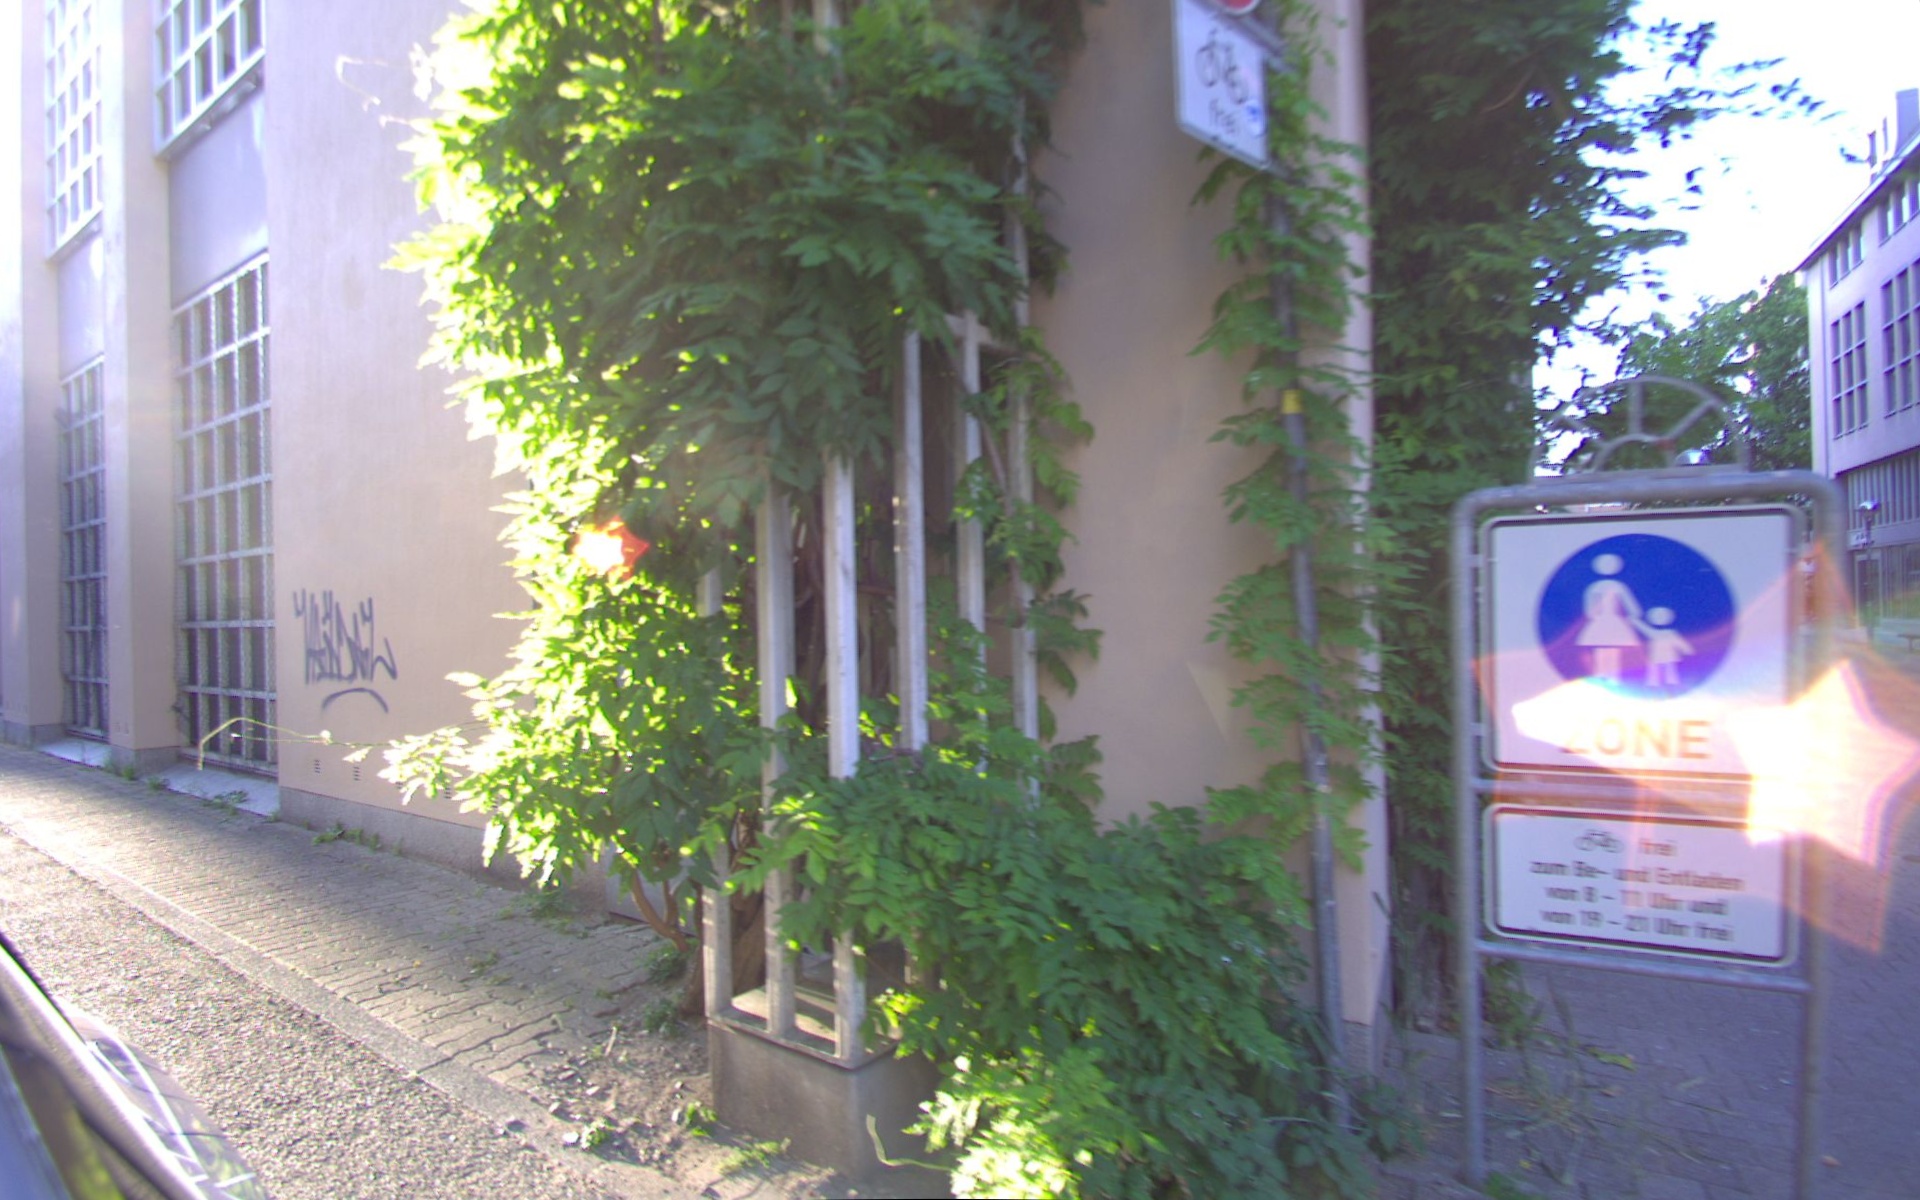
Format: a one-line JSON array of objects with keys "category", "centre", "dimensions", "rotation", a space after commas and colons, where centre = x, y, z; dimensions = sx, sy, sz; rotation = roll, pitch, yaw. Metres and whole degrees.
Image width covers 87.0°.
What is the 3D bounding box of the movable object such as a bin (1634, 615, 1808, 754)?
[{"category": "movable object such as a bin", "centre": [8.104, 0.852, 10.868], "dimensions": [1.225, 1.339, 1.159], "rotation": [2, 0, 25]}]
